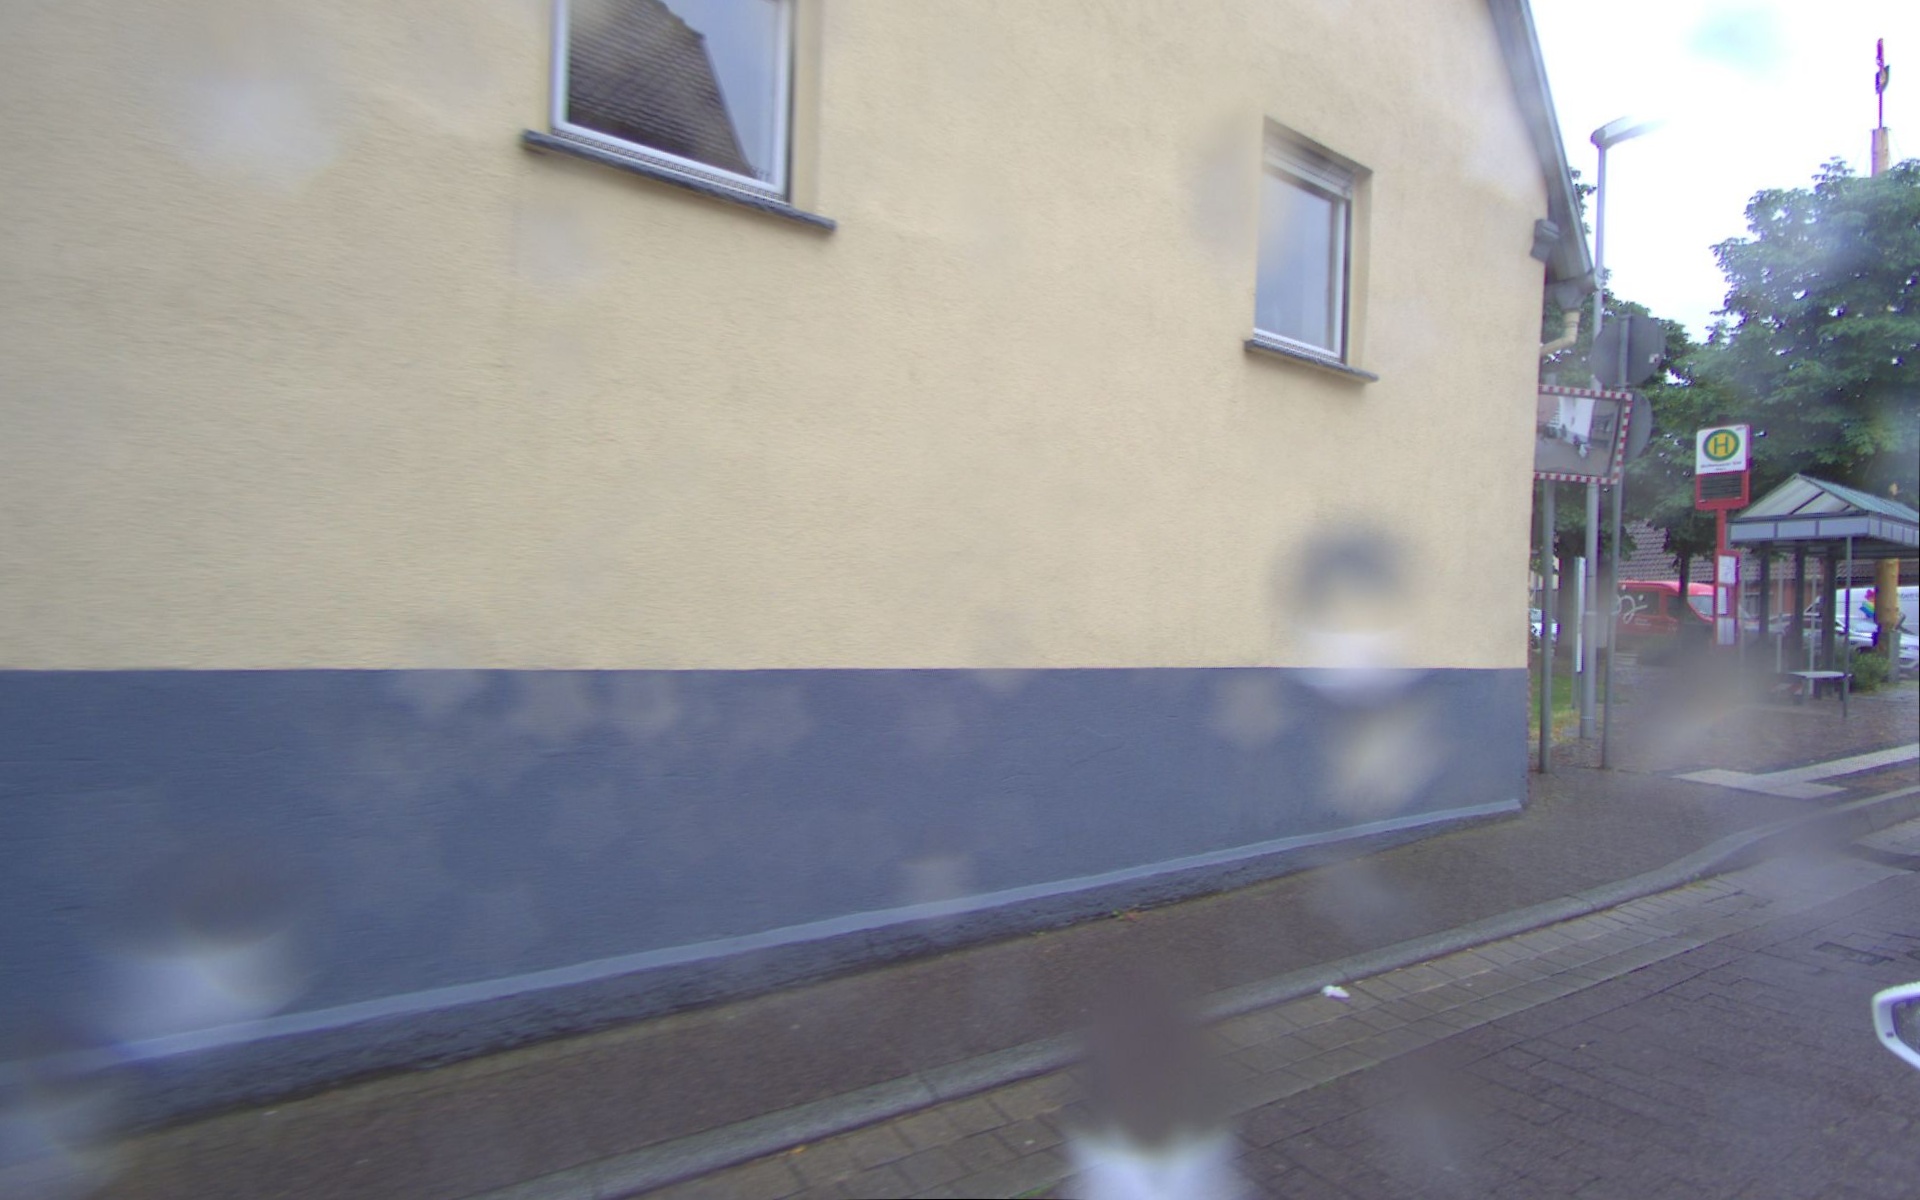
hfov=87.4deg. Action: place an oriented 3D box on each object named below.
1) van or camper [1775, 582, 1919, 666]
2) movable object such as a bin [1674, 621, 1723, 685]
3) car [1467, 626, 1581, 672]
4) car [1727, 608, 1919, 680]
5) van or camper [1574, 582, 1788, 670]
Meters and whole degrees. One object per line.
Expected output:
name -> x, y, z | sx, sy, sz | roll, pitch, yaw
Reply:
van or camper -> 29.123, 0.747, 31.780 | 2.170, 2.468, 5.155 | 0, -1, -6
movable object such as a bin -> 13.781, 0.983, 18.751 | 0.598, 1.161, 0.558 | 3, -2, -34
car -> 21.408, 1.824, 38.315 | 1.769, 1.570, 3.805 | 2, -1, -10
car -> 22.977, 1.090, 26.311 | 1.849, 1.570, 4.451 | 1, 1, -11
van or camper -> 22.577, 0.752, 31.883 | 2.115, 2.506, 5.872 | 1, 0, -6
